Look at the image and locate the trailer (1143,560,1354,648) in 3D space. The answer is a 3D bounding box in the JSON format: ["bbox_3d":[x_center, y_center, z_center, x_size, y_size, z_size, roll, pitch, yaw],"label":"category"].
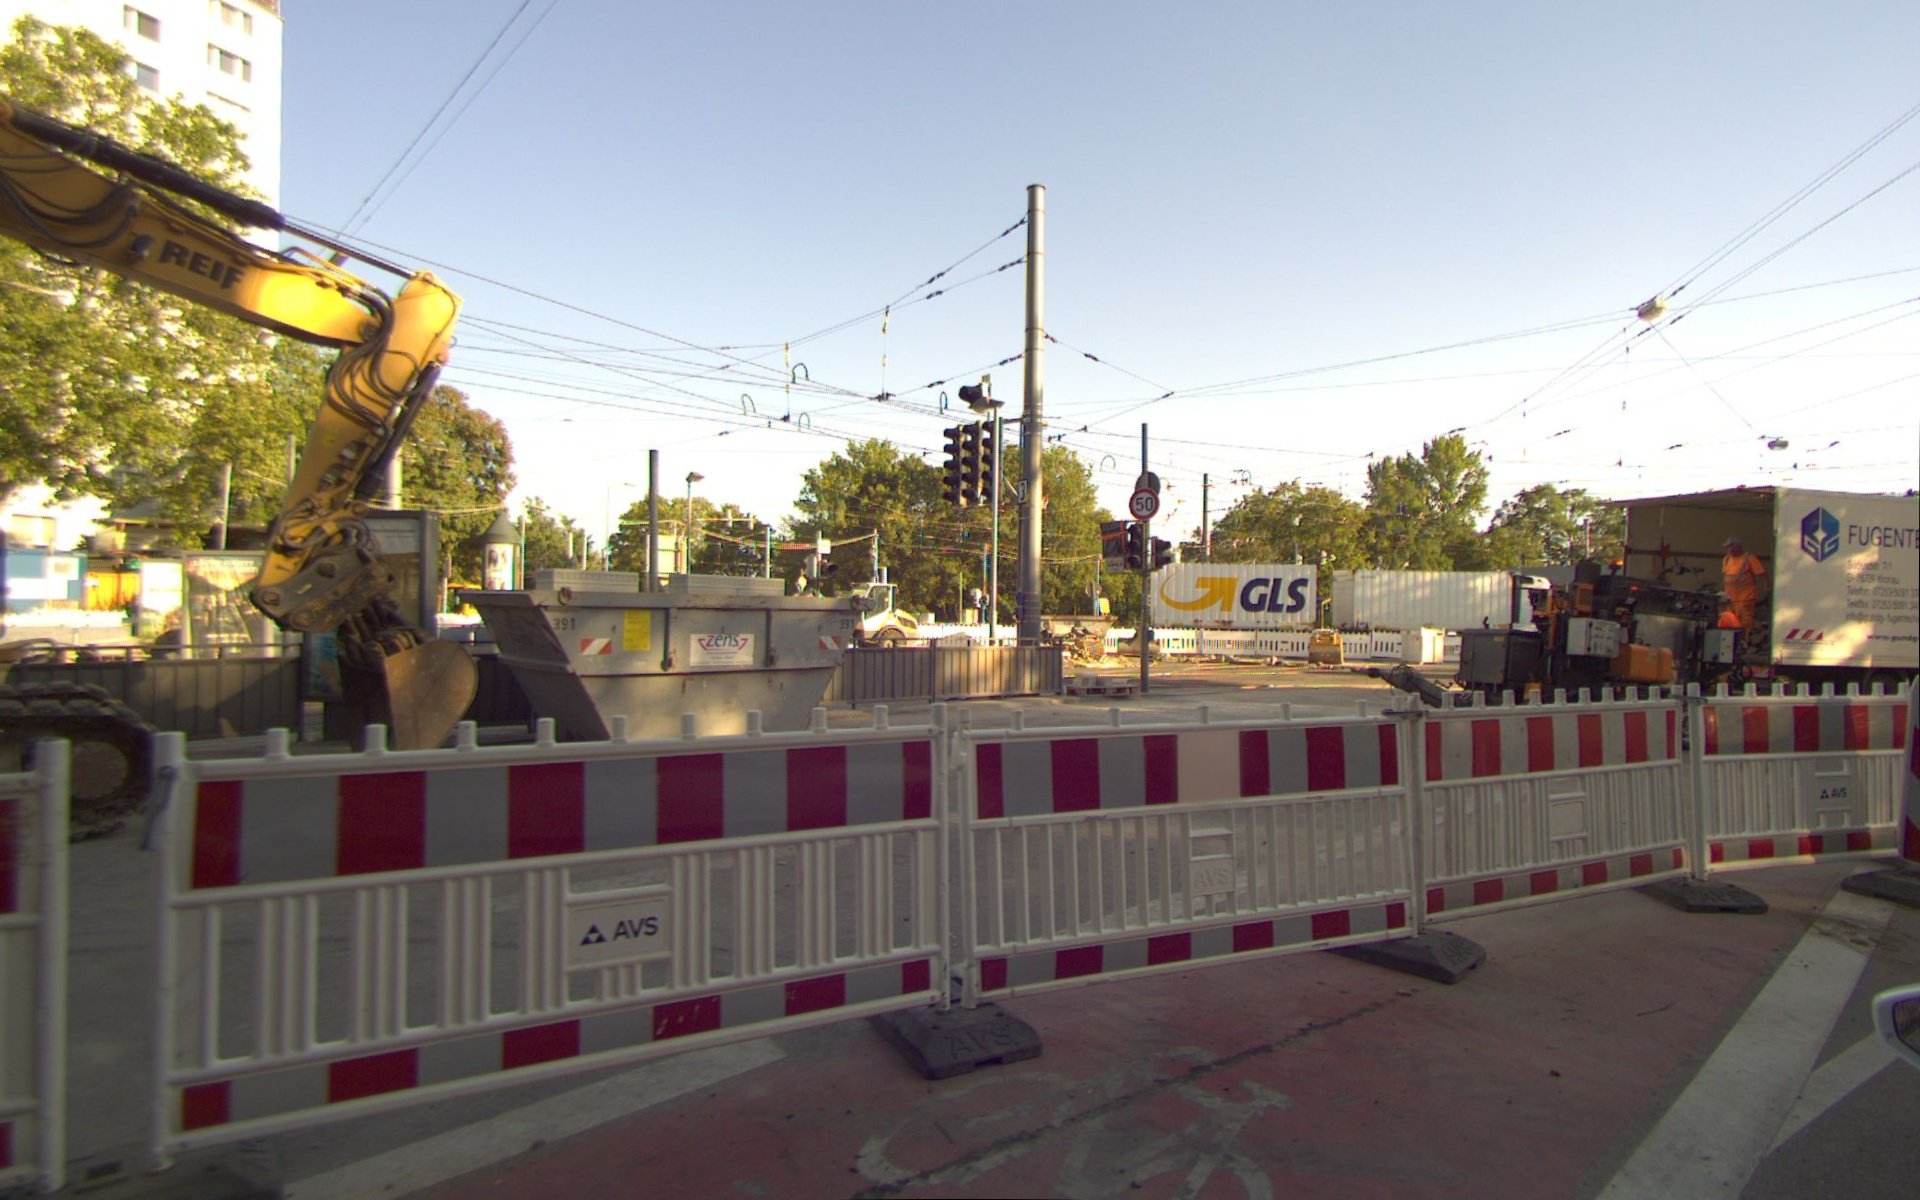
[{"bbox_3d":[13.191,0.125,46.704,9.059,3.848,2.897,1,1,9],"label":"trailer"}]

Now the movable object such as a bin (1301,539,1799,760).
[{"bbox_3d":[6.907,0.535,11.922,5.118,2.287,1.995,1,1,-13],"label":"movable object such as a bin"}]

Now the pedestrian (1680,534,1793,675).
[{"bbox_3d":[11.652,0.066,15.093,0.984,2.040,0.936,-1,0,-15],"label":"pedestrian"}]

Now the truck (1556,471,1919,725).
[{"bbox_3d":[14.649,0.043,16.532,8.828,3.588,2.814,1,-1,-13],"label":"truck"}]

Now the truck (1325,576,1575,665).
[{"bbox_3d":[22.552,0.948,46.526,10.231,3.840,2.900,1,-1,-3],"label":"truck"}]

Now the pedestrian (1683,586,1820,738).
[{"bbox_3d":[9.965,0.751,12.662,1.054,1.822,0.970,1,0,-23],"label":"pedestrian"}]

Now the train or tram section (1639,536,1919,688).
[{"bbox_3d":[24.600,0.341,24.369,13.130,3.580,2.860,1,-1,19],"label":"train or tram section"}]

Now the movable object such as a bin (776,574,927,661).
[{"bbox_3d":[-3.543,0.600,33.263,4.559,2.674,2.134,1,-1,-39],"label":"movable object such as a bin"}]

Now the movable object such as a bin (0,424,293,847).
[{"bbox_3d":[-6.981,0.179,5.720,2.615,2.348,4.872,0,0,44],"label":"movable object such as a bin"}]
